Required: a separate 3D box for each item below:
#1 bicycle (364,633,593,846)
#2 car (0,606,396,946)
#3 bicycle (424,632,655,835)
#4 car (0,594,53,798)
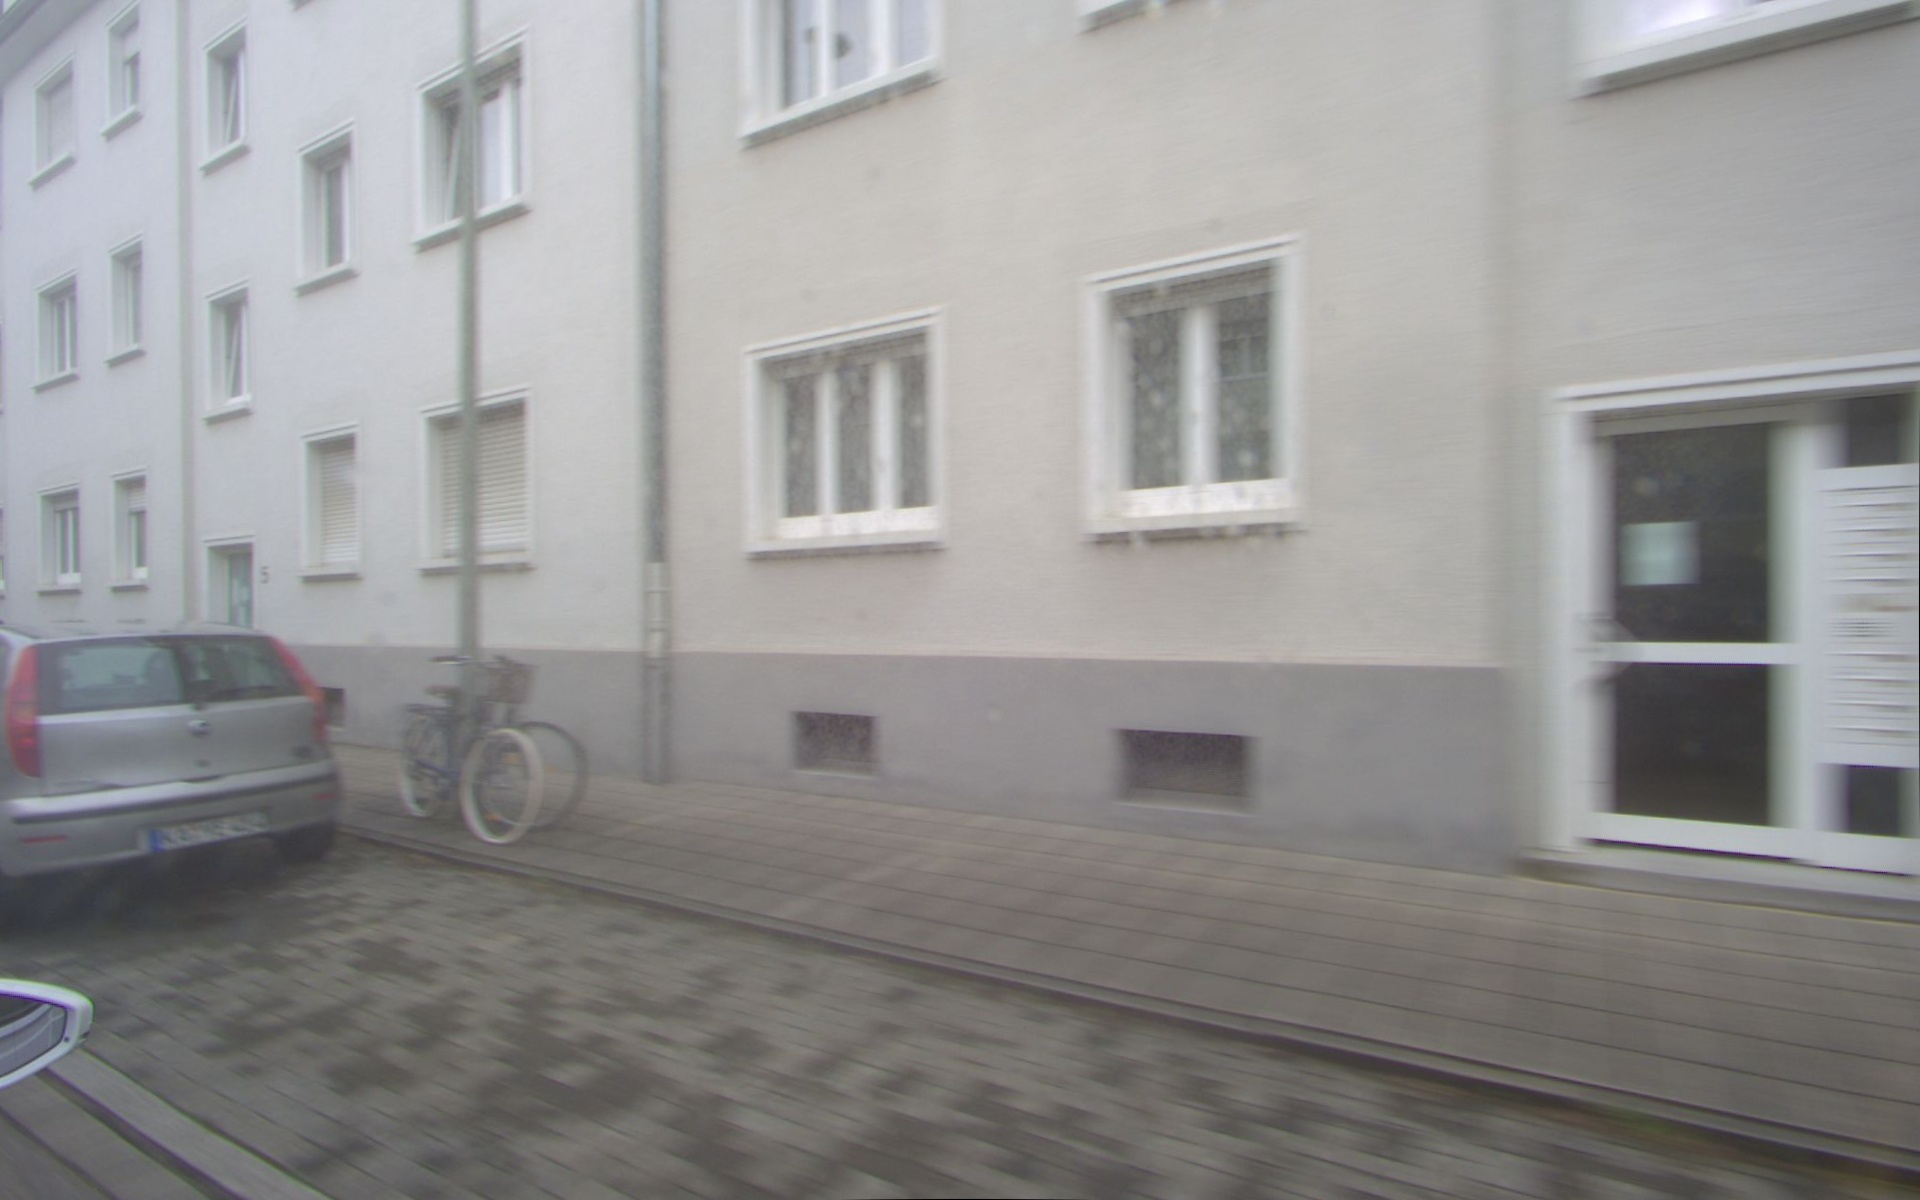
[{"bbox_3d":[-3.223,0.830,6.605,2.011,1.191,0.528,0,1,39],"label":"bicycle"},{"bbox_3d":[-5.538,0.809,6.317,4.033,1.523,1.816,0,0,33],"label":"car"},{"bbox_3d":[-2.963,0.842,6.952,2.011,1.191,0.573,0,1,39],"label":"bicycle"},{"bbox_3d":[-9.616,0.774,8.572,4.034,1.624,1.816,0,-1,33],"label":"car"}]
